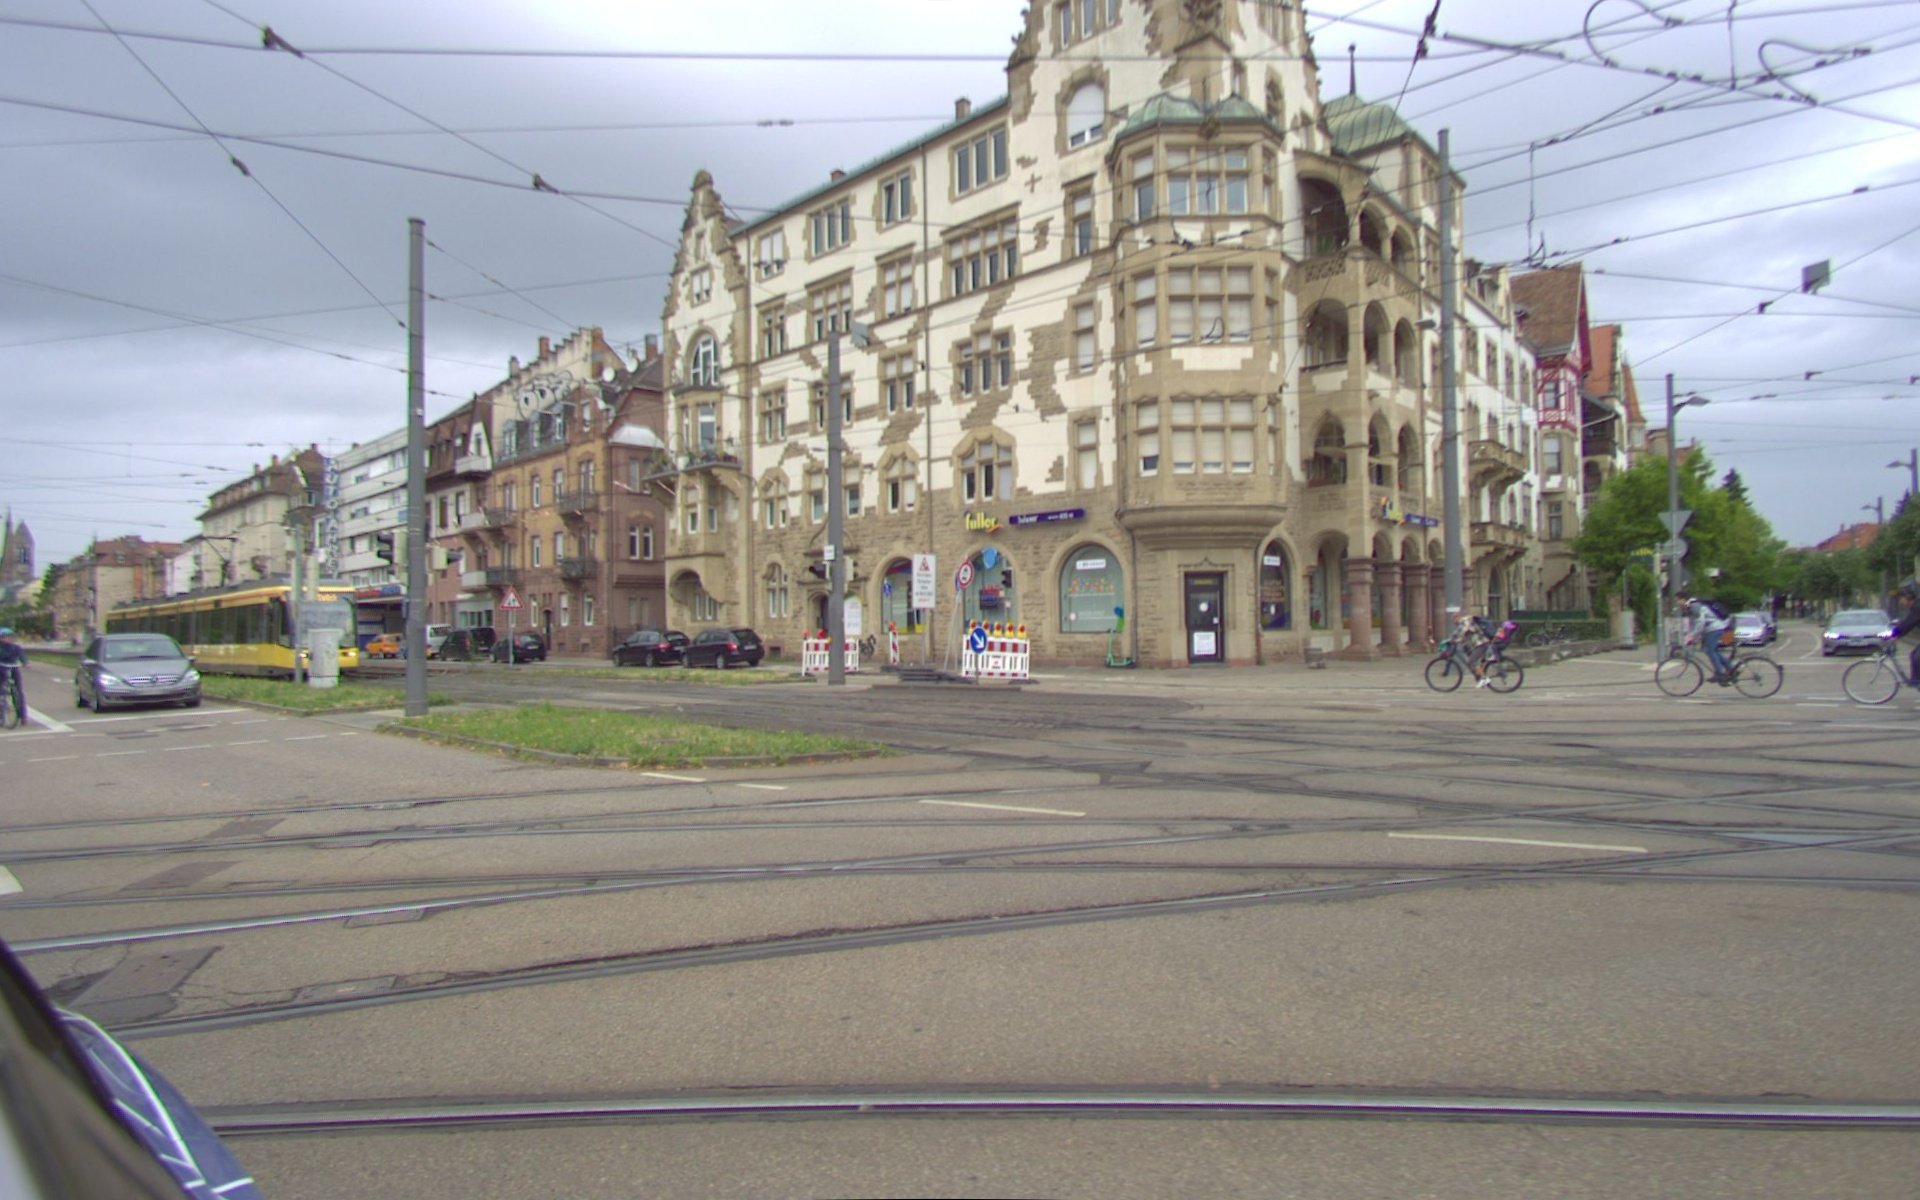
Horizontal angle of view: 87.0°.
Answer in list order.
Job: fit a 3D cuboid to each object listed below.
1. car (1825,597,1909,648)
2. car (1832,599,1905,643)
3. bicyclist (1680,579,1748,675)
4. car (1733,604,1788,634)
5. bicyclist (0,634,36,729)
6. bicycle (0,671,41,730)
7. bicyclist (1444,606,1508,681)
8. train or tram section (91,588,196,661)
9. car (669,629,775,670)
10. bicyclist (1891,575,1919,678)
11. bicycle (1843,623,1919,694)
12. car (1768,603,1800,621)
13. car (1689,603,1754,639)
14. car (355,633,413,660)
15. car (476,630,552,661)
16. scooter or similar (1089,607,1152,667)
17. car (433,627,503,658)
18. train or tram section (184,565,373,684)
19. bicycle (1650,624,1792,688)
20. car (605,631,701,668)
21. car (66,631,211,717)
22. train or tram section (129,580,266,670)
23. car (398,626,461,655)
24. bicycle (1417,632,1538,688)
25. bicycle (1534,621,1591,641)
[{"bbox_3d":[29.207,0.702,32.545,1.801,1.522,3.941,-1,-1,45],"label":"car"},{"bbox_3d":[33.366,0.739,37.124,1.801,1.522,3.941,-1,-1,45],"label":"car"},{"bbox_3d":[13.169,0.474,17.683,0.858,1.618,0.715,-4,-3,39],"label":"bicyclist"},{"bbox_3d":[42.060,0.978,53.154,1.801,1.522,3.941,-1,-1,45],"label":"car"},{"bbox_3d":[-16.701,1.420,17.630,0.890,1.608,0.801,-4,-3,41],"label":"bicyclist"},{"bbox_3d":[-16.701,1.755,17.638,2.145,0.952,0.801,-5,-4,42],"label":"bicycle"},{"bbox_3d":[10.277,0.865,20.172,0.971,1.455,0.699,-3,-2,39],"label":"bicyclist"},{"bbox_3d":[-43.828,1.298,54.079,13.621,3.463,2.615,-1,-1,44],"label":"train or tram section"},{"bbox_3d":[-9.092,1.841,38.574,3.997,1.453,1.973,-1,-1,40],"label":"car"},{"bbox_3d":[14.642,0.392,15.287,0.764,1.532,0.741,-1,-1,39],"label":"bicyclist"},{"bbox_3d":[14.644,0.872,15.286,1.913,1.045,0.741,-1,-1,39],"label":"bicycle"},{"bbox_3d":[72.143,1.061,88.630,1.801,1.522,3.941,-1,-1,45],"label":"car"},{"bbox_3d":[34.148,0.921,45.350,1.801,1.522,3.941,-1,-1,45],"label":"car"},{"bbox_3d":[-36.515,2.935,64.177,3.997,1.608,1.973,-1,-1,40],"label":"car"},{"bbox_3d":[-22.481,2.240,50.949,3.997,1.453,1.973,-1,-1,40],"label":"car"},{"bbox_3d":[4.733,1.071,29.928,1.829,1.728,0.558,-1,-1,41],"label":"scooter or similar"},{"bbox_3d":[-26.764,2.263,55.009,3.997,1.608,1.973,-1,-1,40],"label":"car"},{"bbox_3d":[-24.121,0.842,35.303,13.621,3.463,2.615,-1,-1,44],"label":"train or tram section"},{"bbox_3d":[13.223,0.978,17.633,1.907,1.045,0.715,-4,-3,39],"label":"bicycle"},{"bbox_3d":[-12.774,2.016,42.049,3.997,1.453,1.973,-1,-1,40],"label":"car"},{"bbox_3d":[-17.733,1.512,21.791,3.774,1.652,1.844,-1,-1,42],"label":"car"},{"bbox_3d":[-33.937,1.075,44.702,13.621,3.463,2.615,-1,-1,44],"label":"train or tram section"},{"bbox_3d":[-31.358,2.378,59.751,3.997,1.608,1.973,-1,-1,40],"label":"car"},{"bbox_3d":[10.282,1.186,20.165,2.020,1.045,0.699,-3,-2,39],"label":"bicycle"},{"bbox_3d":[23.162,1.194,38.900,1.804,0.744,0.554,-1,-1,43],"label":"bicycle"}]
